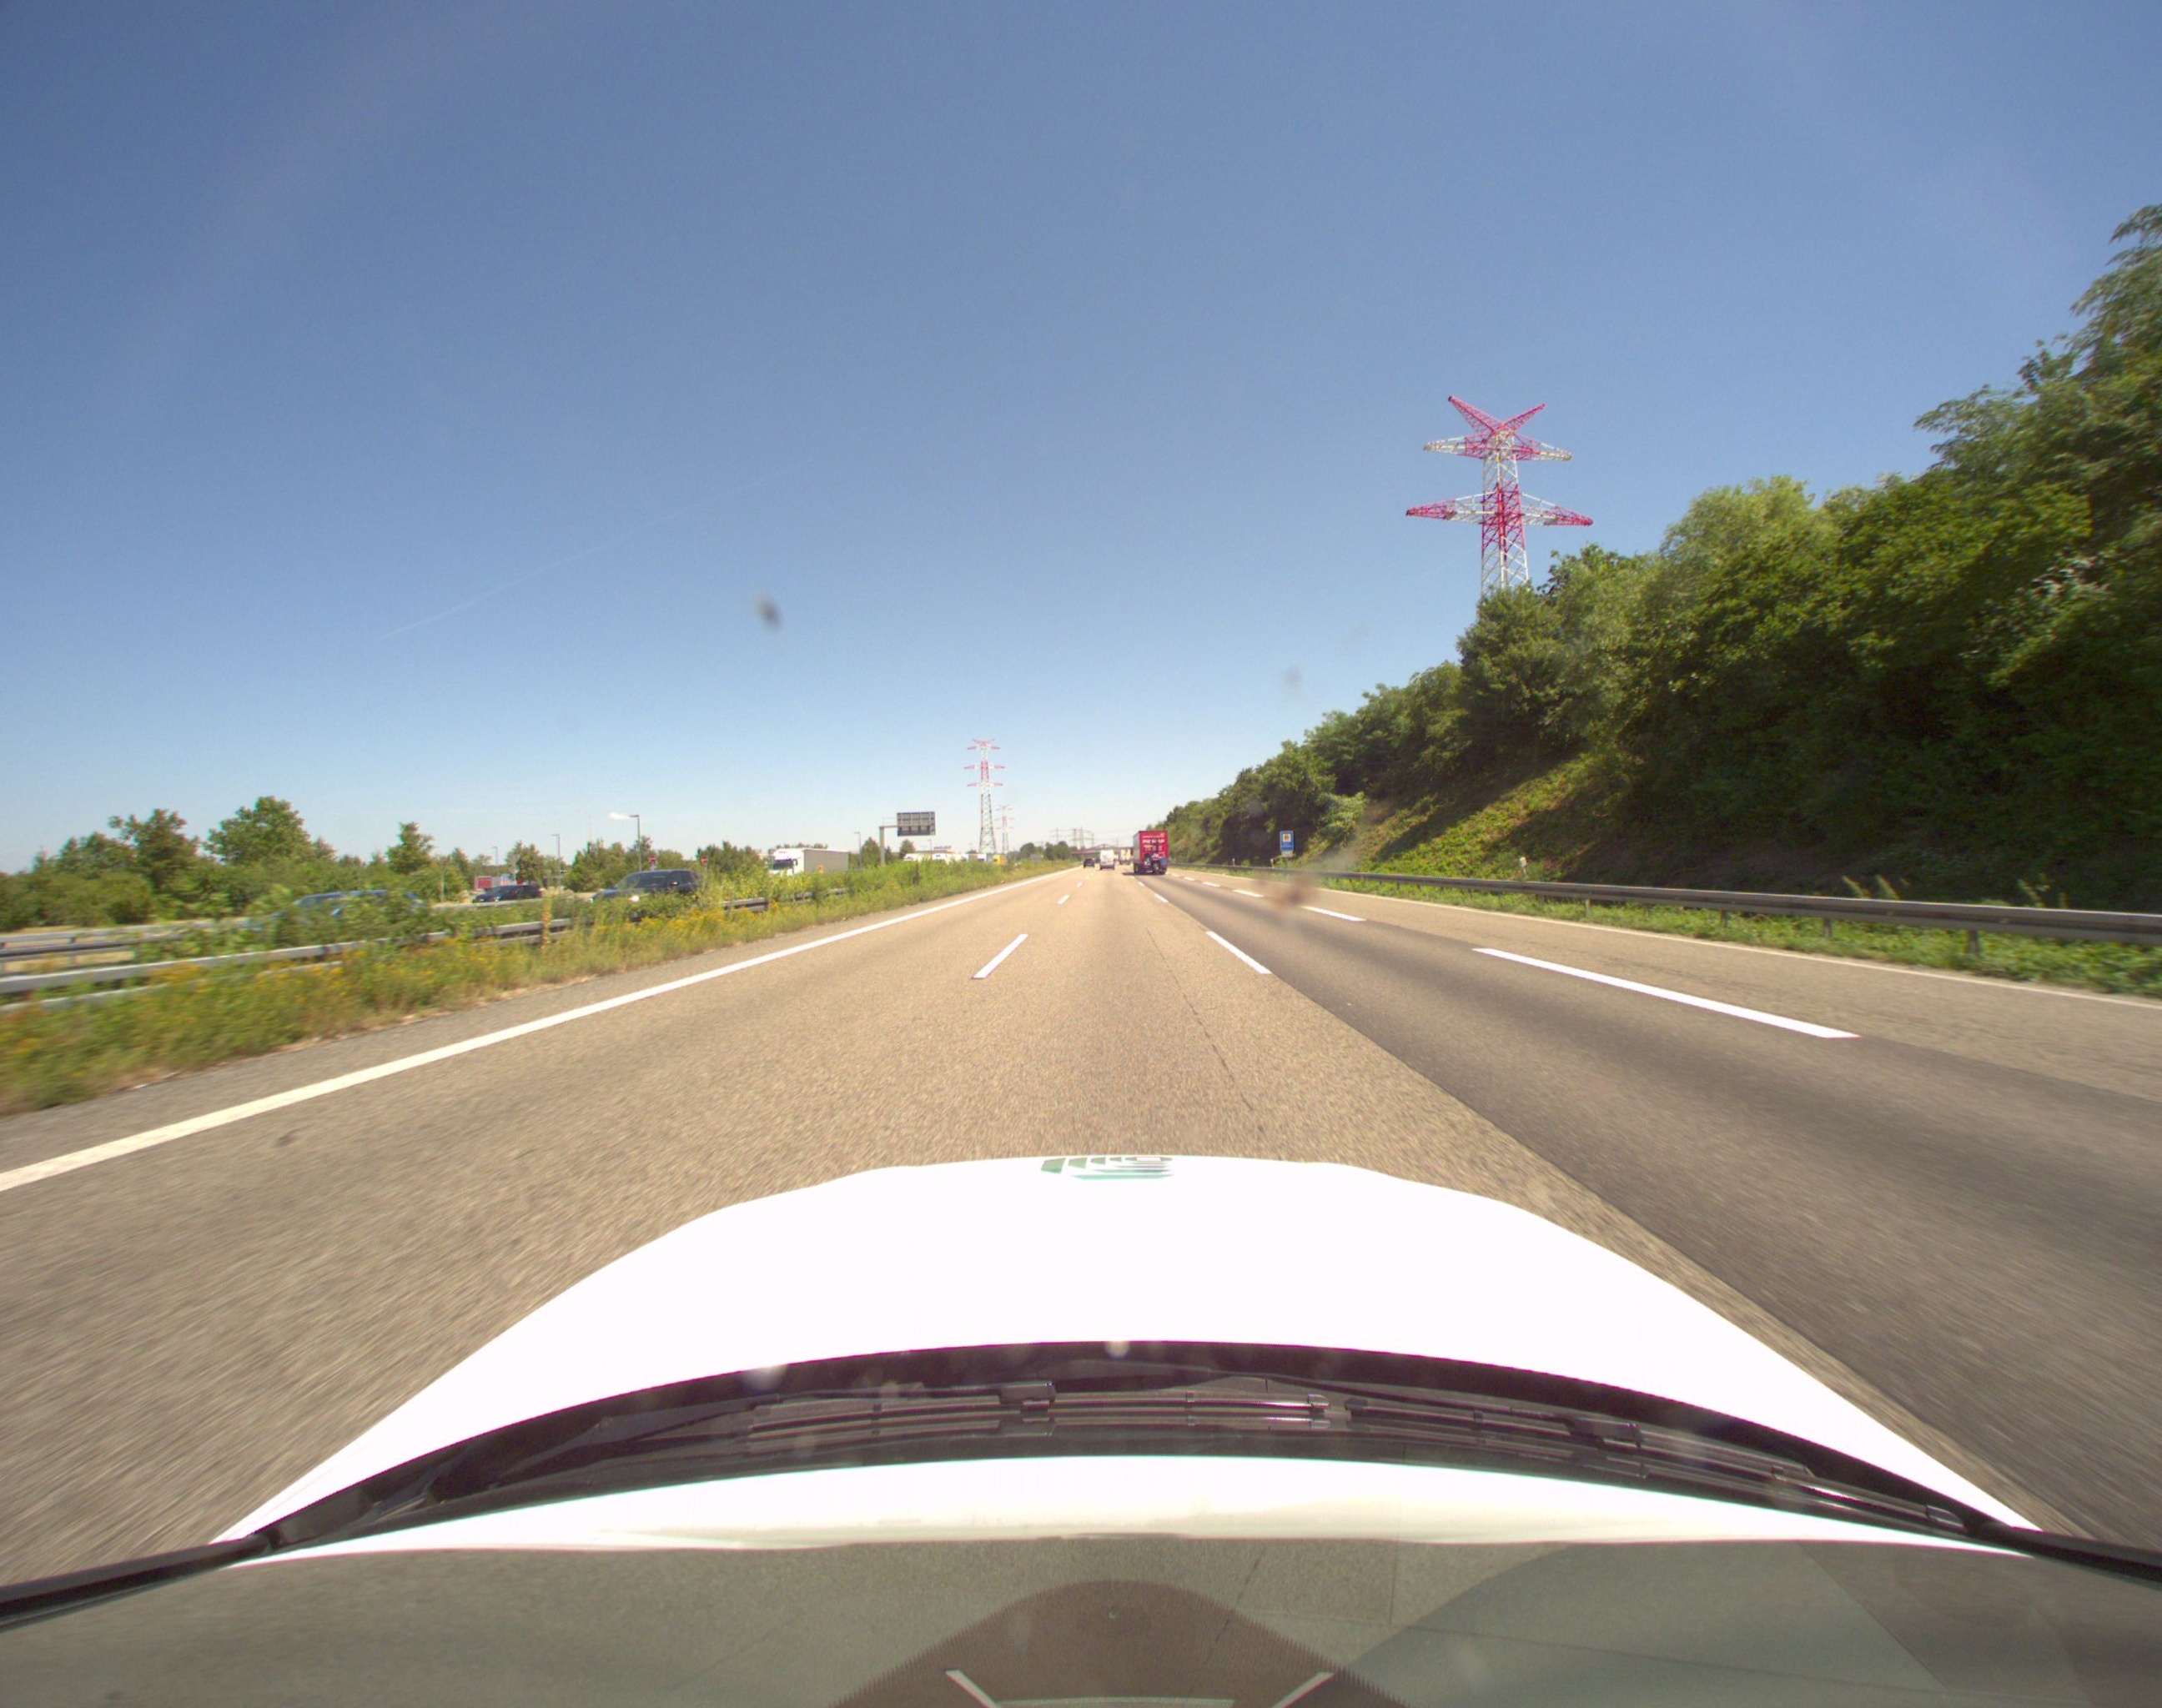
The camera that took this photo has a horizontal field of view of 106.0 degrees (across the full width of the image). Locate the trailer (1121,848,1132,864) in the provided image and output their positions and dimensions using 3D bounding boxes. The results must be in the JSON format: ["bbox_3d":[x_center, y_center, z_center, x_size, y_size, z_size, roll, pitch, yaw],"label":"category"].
[{"bbox_3d":[11.561,0.631,208.073,2.626,4.061,12.375,0,-1,3],"label":"trailer"}]

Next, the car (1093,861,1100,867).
[{"bbox_3d":[4.954,3.204,261.698,1.964,2.012,4.198,0,-1,2],"label":"car"}]

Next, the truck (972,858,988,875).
[{"bbox_3d":[-24.180,2.934,194.895,2.839,4.073,7.090,0,-1,1],"label":"truck"}]

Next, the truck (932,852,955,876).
[{"bbox_3d":[-24.990,1.851,148.216,2.571,4.188,7.939,-1,-1,2],"label":"truck"}]

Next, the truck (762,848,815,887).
[{"bbox_3d":[-29.009,1.328,80.999,2.788,3.643,6.149,0,-1,2],"label":"truck"}]

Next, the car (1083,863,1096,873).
[{"bbox_3d":[1.542,2.499,146.952,1.973,1.817,3.817,0,-1,4],"label":"car"}]

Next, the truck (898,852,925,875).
[{"bbox_3d":[-31.573,1.788,152.160,3.083,4.152,8.319,0,-1,2],"label":"truck"}]

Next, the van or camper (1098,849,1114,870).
[{"bbox_3d":[3.505,0.758,112.781,2.221,2.782,5.425,0,-1,2],"label":"van or camper"}]

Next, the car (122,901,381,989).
[{"bbox_3d":[-17.514,1.852,17.491,1.537,1.424,3.852,-3,-1,0],"label":"car"}]

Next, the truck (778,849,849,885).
[{"bbox_3d":[-28.754,1.394,88.477,2.788,3.643,13.611,0,-1,2],"label":"truck"}]

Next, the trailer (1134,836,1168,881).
[{"bbox_3d":[6.622,0.483,79.085,2.481,3.910,14.251,-1,-1,2],"label":"trailer"}]

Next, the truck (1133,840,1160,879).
[{"bbox_3d":[6.871,0.571,86.396,2.490,3.920,7.099,-1,-1,2],"label":"truck"}]
